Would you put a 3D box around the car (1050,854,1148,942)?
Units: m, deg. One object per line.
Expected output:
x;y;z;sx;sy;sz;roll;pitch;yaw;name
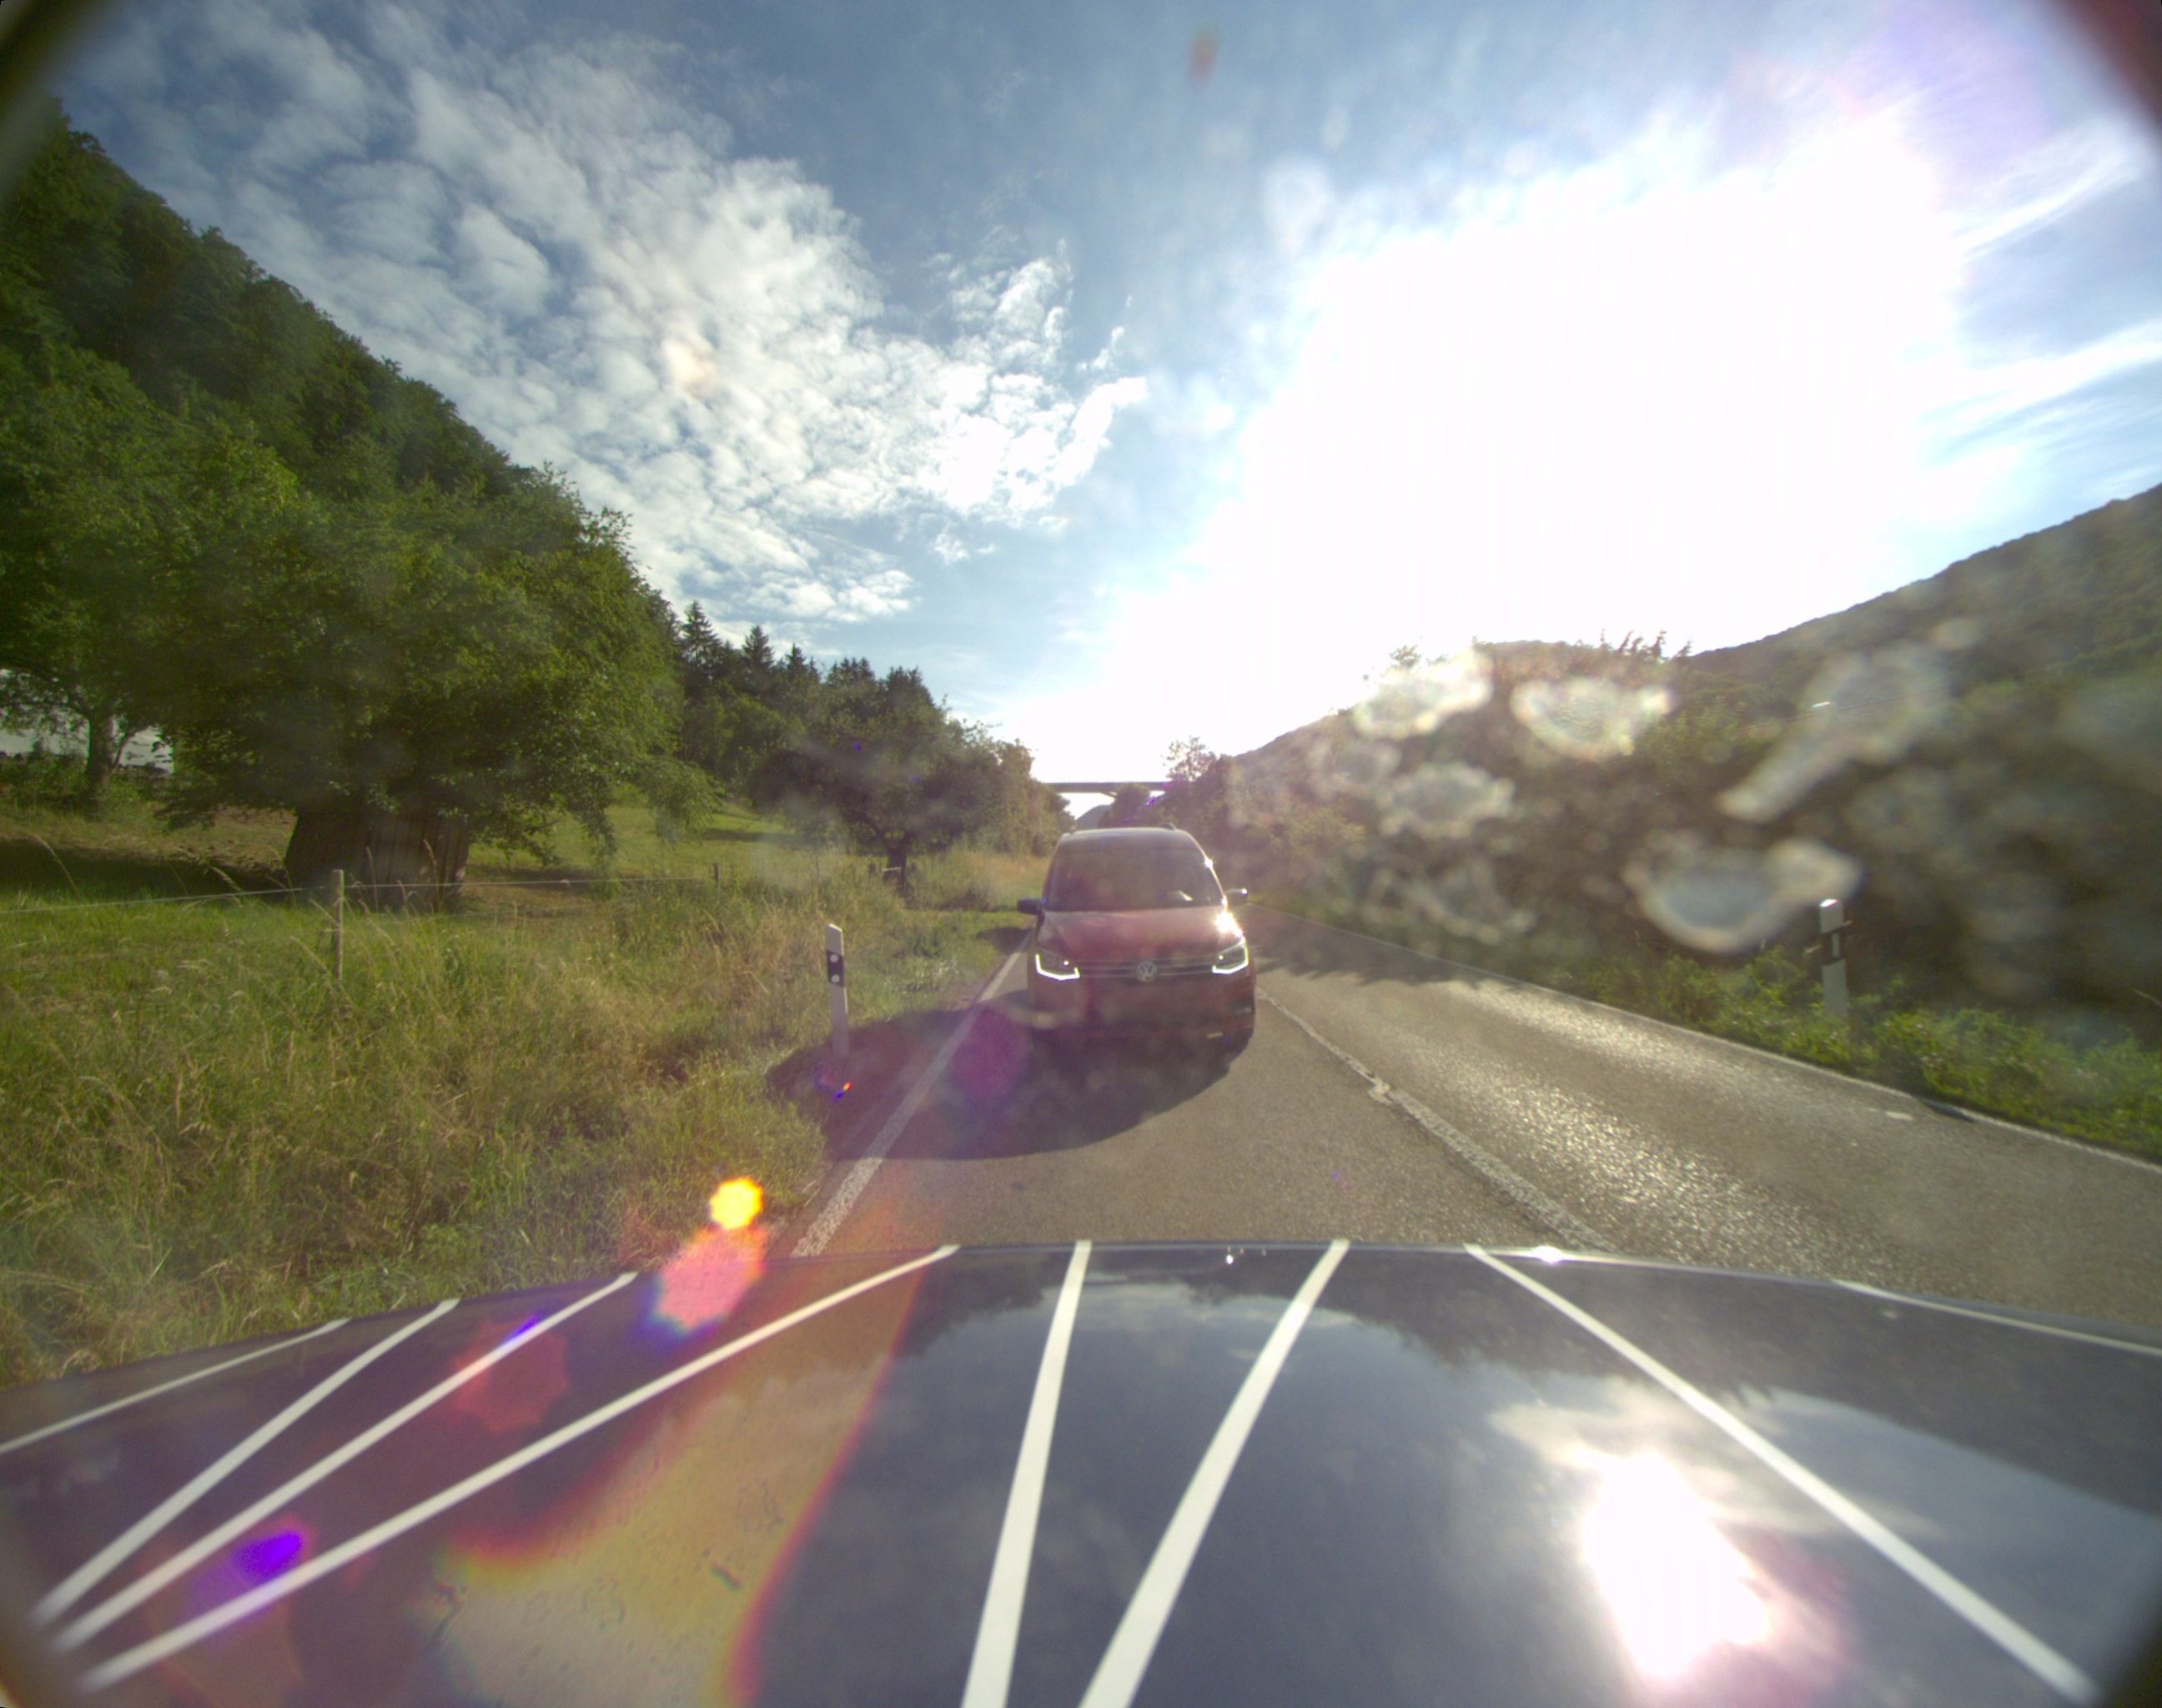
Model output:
0.364;0.824;16.370;1.753;1.513;4.288;-4;0;1;car

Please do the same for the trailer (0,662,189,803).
-23.818;-2.721;16.746;2.158;2.542;5.248;0;-3;-3;trailer

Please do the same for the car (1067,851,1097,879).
0.077;0.657;49.284;1.753;1.608;4.288;-4;1;1;car

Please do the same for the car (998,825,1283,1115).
0.420;0.748;7.126;1.753;1.799;4.288;-4;1;1;car

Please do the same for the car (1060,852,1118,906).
0.276;0.794;26.451;1.753;1.608;4.288;-4;1;1;car
